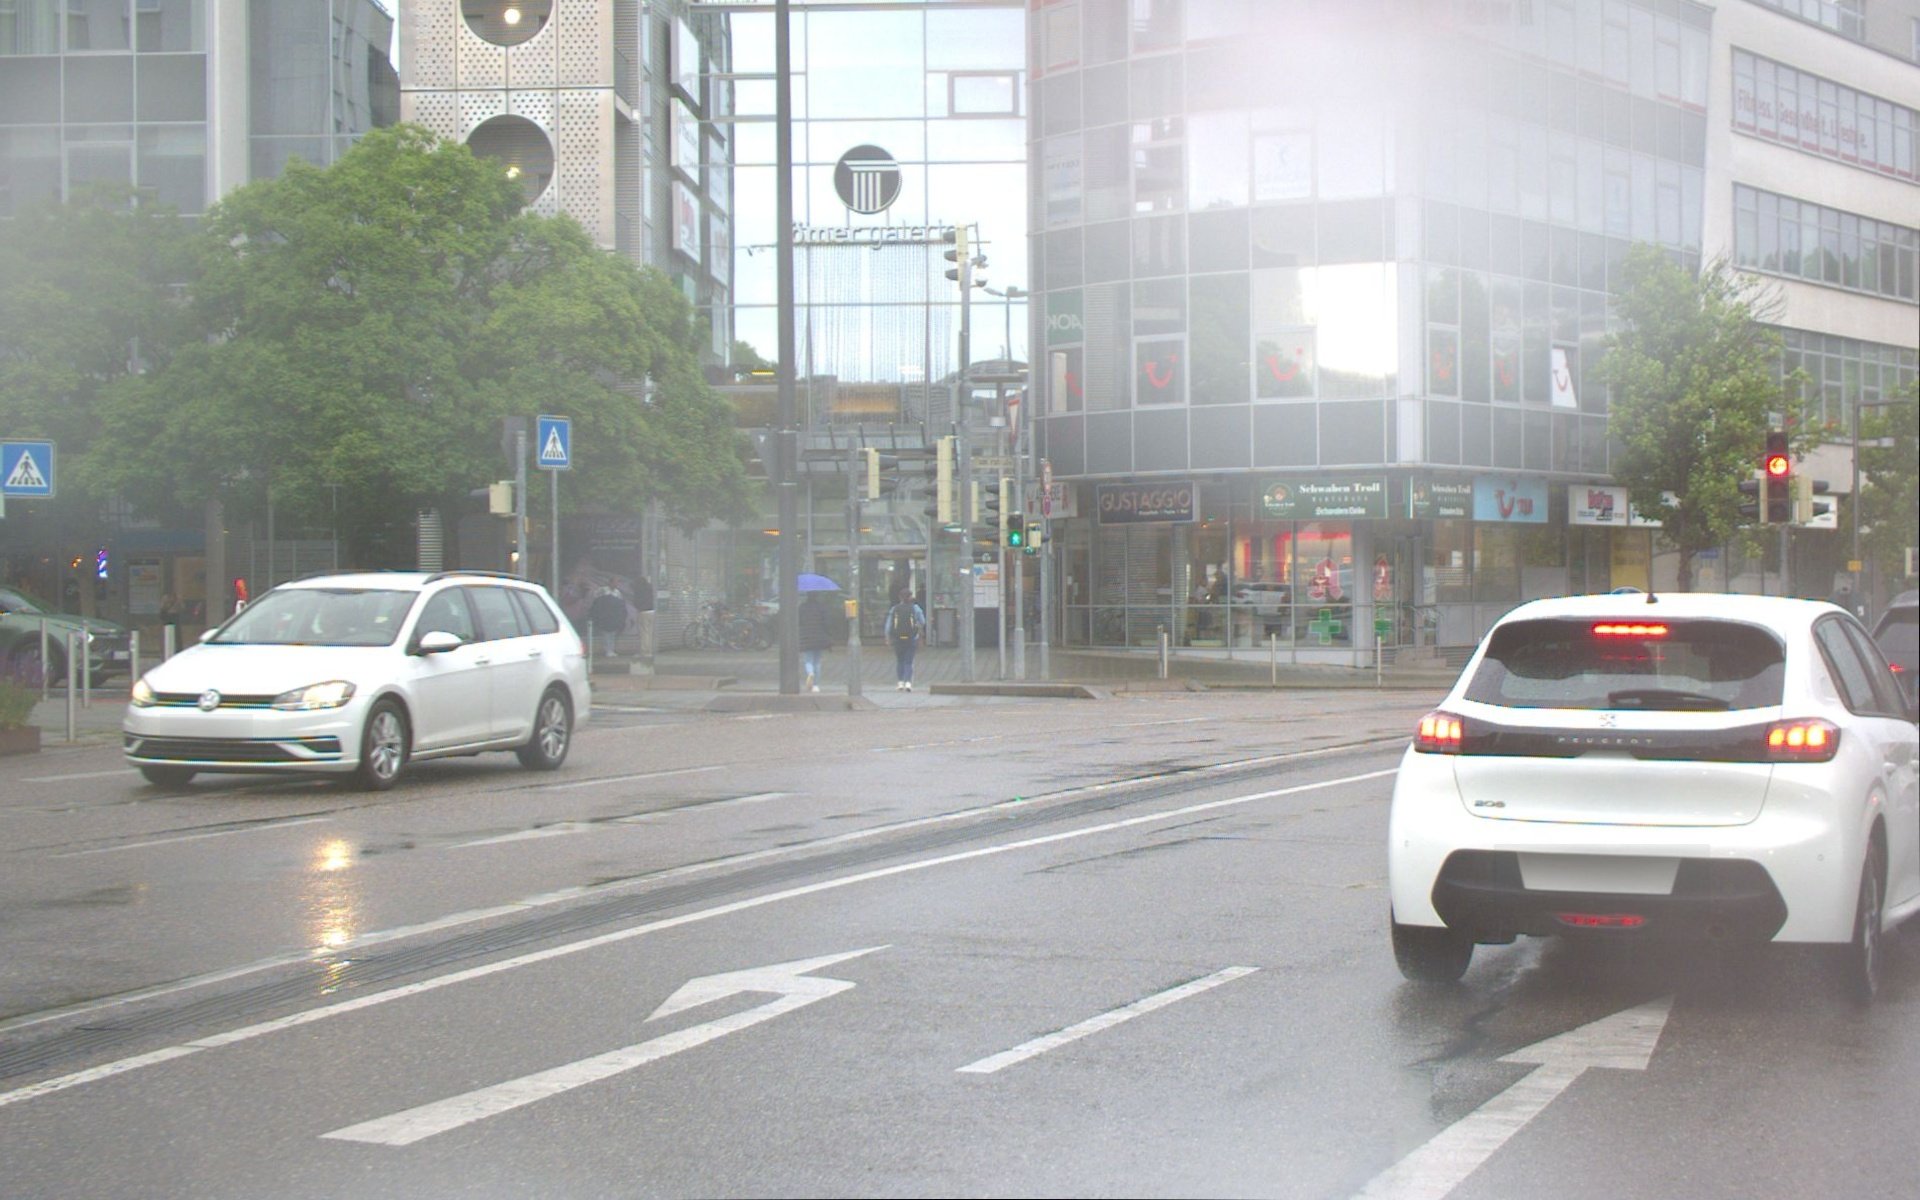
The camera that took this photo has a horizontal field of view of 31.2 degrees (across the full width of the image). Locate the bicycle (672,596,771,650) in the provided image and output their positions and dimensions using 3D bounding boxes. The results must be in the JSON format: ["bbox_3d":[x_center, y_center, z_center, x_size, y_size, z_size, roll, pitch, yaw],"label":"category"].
[{"bbox_3d":[-5.654,0.544,81.546,2.273,1.242,0.676,0,0,2],"label":"bicycle"}]

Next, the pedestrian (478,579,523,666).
[{"bbox_3d":[-9.972,0.484,74.599,0.751,1.862,0.833,0,0,-24],"label":"pedestrian"}]

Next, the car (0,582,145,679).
[{"bbox_3d":[-14.602,0.433,51.922,4.047,1.415,1.869,0,0,10],"label":"car"}]

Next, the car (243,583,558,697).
[{"bbox_3d":[-8.164,0.562,50.356,4.193,1.590,1.870,1,0,7],"label":"car"}]

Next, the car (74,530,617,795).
[{"bbox_3d":[-4.204,0.384,24.342,1.887,1.676,4.502,1,0,18],"label":"car"}]

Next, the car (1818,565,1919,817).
[{"bbox_3d":[6.731,0.566,22.497,1.817,1.524,3.808,1,0,19],"label":"car"}]

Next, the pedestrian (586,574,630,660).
[{"bbox_3d":[-7.721,0.372,75.432,0.831,1.862,0.753,-1,0,3],"label":"pedestrian"}]

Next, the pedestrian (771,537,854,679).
[{"bbox_3d":[-2.127,0.108,49.336,1.162,2.007,1.328,0,0,-4],"label":"pedestrian"}]

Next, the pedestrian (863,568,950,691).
[{"bbox_3d":[-0.796,0.444,51.479,0.847,1.813,1.022,-1,-1,35],"label":"pedestrian"}]

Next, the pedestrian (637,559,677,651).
[{"bbox_3d":[-6.663,0.103,75.592,0.763,2.007,0.714,0,0,4],"label":"pedestrian"}]

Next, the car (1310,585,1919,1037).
[{"bbox_3d":[2.800,0.682,13.381,1.874,1.457,3.869,1,0,21],"label":"car"}]
